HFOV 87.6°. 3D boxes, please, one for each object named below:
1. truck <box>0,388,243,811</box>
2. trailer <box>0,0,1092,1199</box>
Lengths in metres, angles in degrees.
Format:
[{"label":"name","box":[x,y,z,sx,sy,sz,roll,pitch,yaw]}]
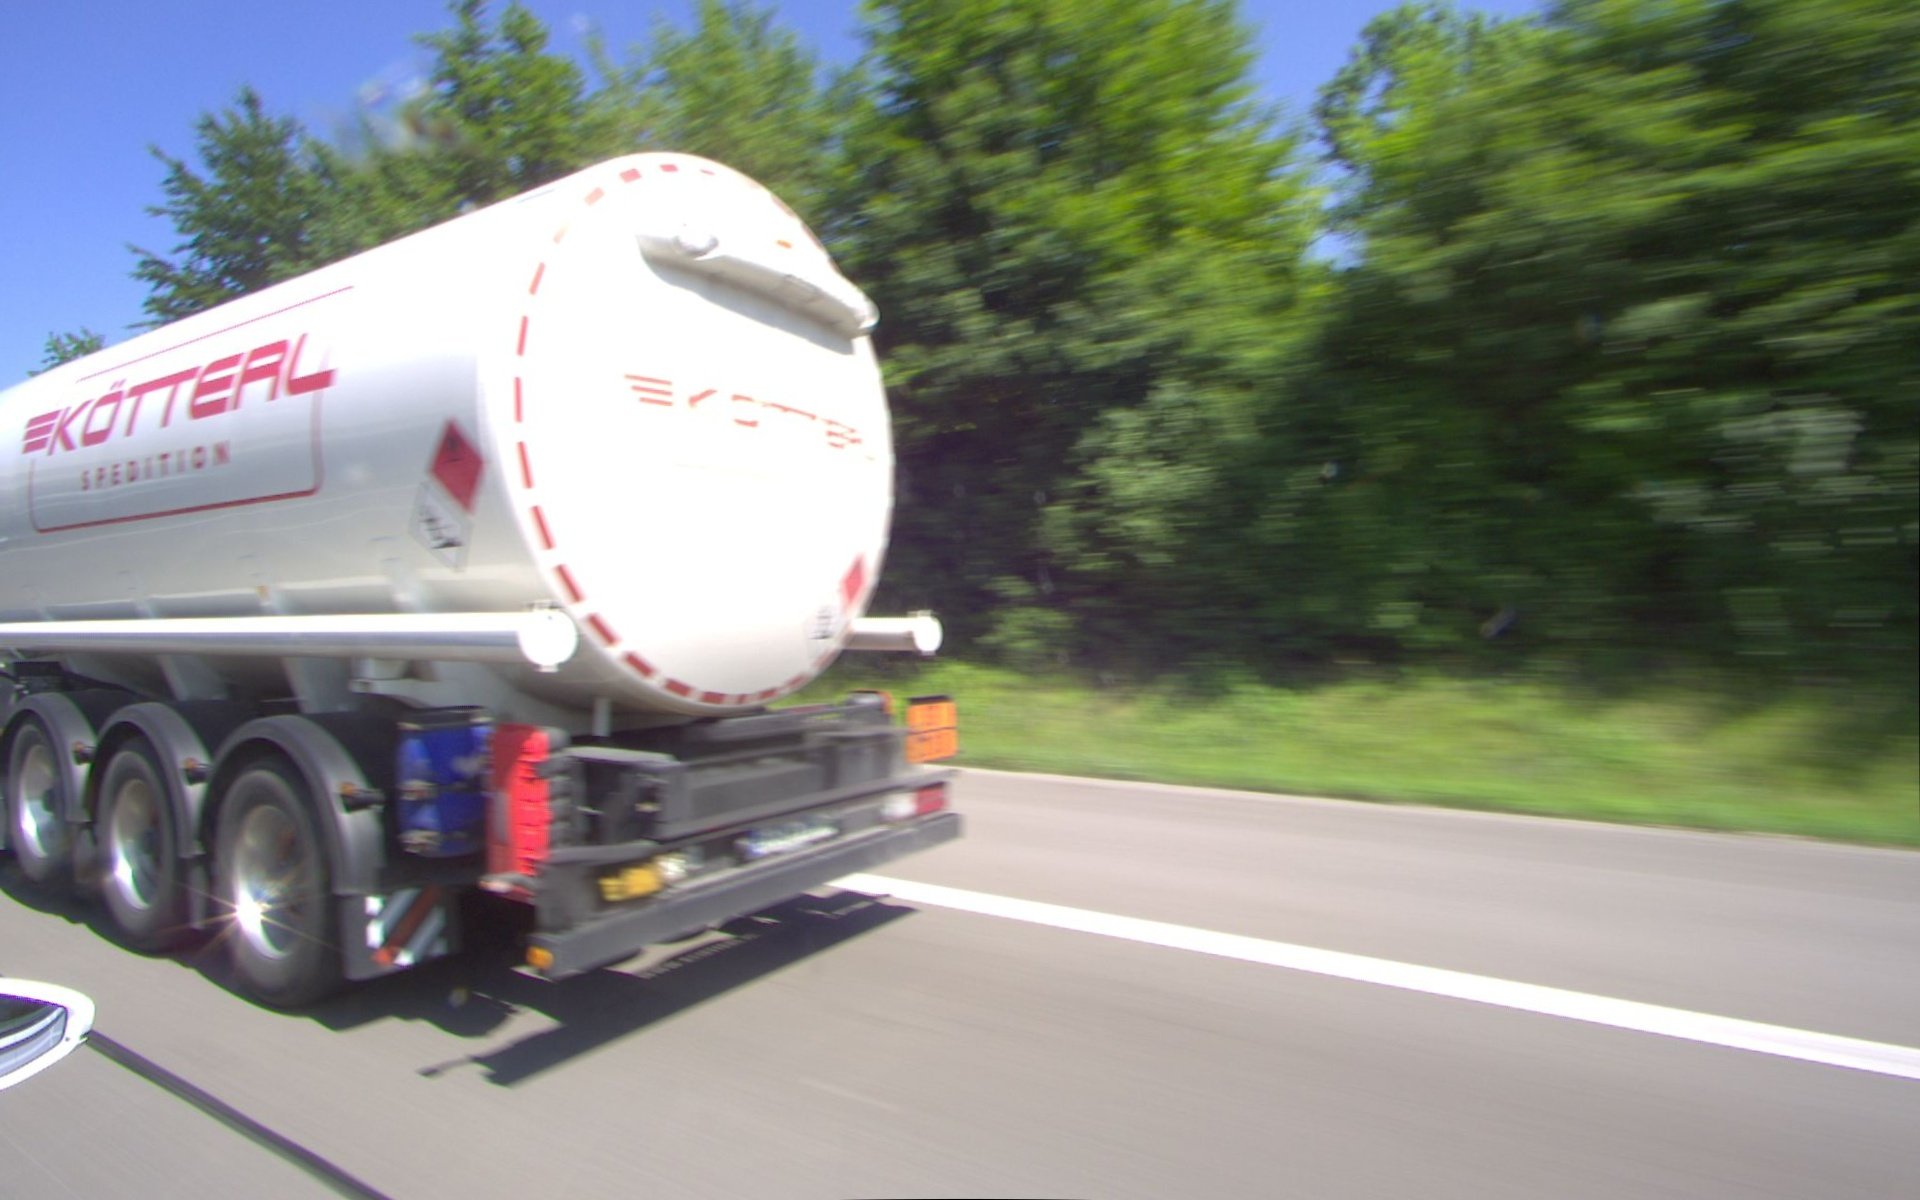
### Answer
[{"label":"truck","box":[-10.223,0.053,10.193,6.396,3.418,2.633,-1,-1,33]},{"label":"trailer","box":[-4.690,-0.033,6.666,10.992,3.433,2.643,-1,-1,32]}]
